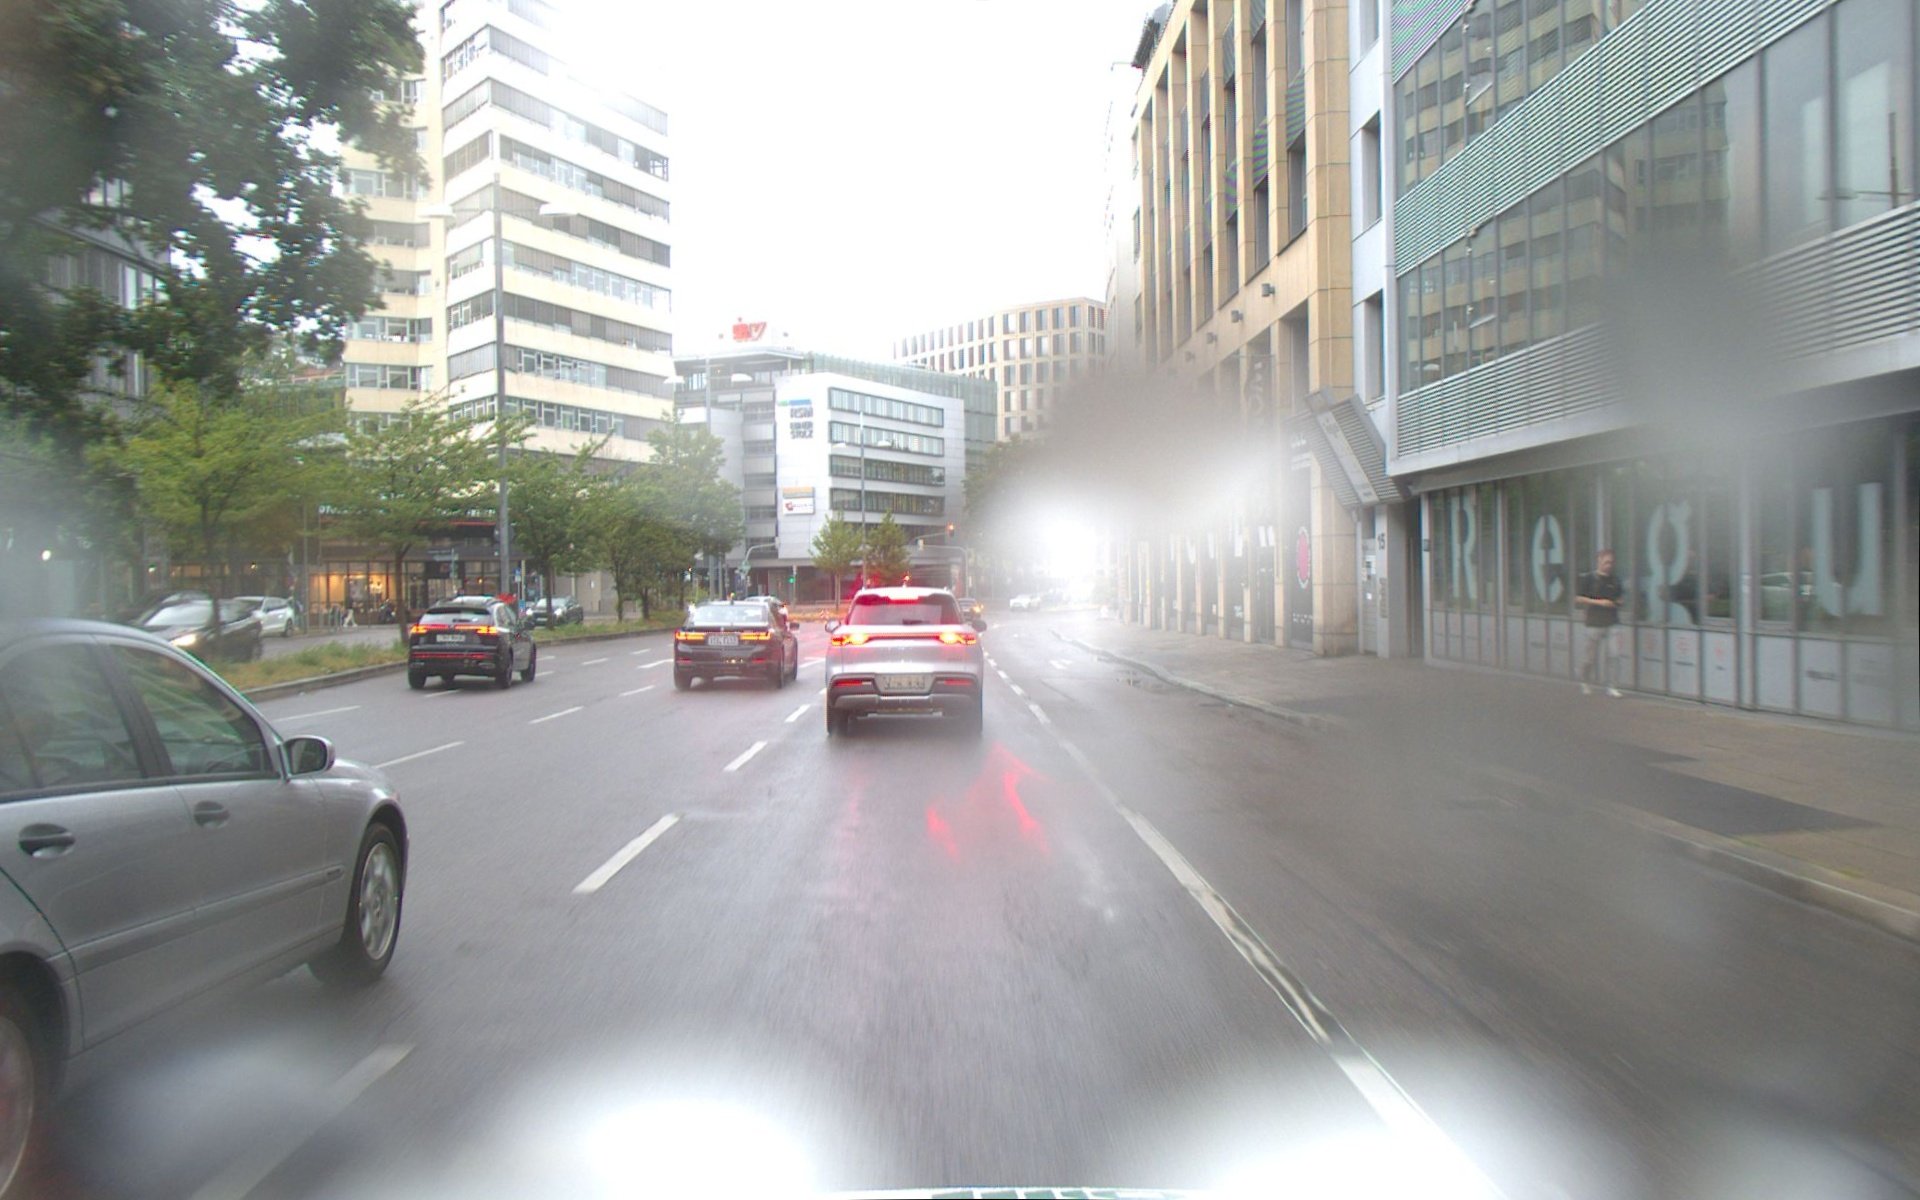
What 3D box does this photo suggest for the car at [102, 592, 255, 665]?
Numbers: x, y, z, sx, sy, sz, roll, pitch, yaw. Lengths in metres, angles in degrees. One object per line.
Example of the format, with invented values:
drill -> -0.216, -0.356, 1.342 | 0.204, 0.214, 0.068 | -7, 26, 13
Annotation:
car -> -15.421, 0.549, 32.818 | 1.592, 1.334, 3.613 | -1, 0, -6

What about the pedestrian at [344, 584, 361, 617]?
pedestrian -> -32.488, 0.046, 88.441 | 0.746, 1.743, 0.585 | 0, 0, -39

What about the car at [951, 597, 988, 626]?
car -> 0.564, 0.660, 95.794 | 1.773, 1.606, 4.003 | 0, 0, 5

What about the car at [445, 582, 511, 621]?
car -> -19.619, 0.090, 67.514 | 1.591, 1.518, 4.304 | -1, 0, -3

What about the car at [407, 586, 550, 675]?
car -> -8.671, 0.529, 30.080 | 1.739, 1.482, 3.995 | -1, 0, -5

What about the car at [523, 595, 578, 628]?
car -> -19.553, 0.541, 79.121 | 1.590, 1.478, 4.162 | -1, 0, 0

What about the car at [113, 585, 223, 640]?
car -> -25.025, 0.369, 52.403 | 1.591, 1.639, 4.230 | 0, 0, -3

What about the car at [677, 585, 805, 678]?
car -> -3.874, 0.500, 29.957 | 1.835, 1.505, 4.876 | -1, 1, -2

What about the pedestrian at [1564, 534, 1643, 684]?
pedestrian -> 7.901, 0.110, 20.344 | 0.622, 1.803, 0.789 | -1, -1, -1

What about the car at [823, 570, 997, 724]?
car -> -0.575, 0.500, 19.823 | 1.862, 1.650, 3.999 | 0, 0, -1

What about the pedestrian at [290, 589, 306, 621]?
pedestrian -> -31.808, 0.241, 79.474 | 0.597, 1.530, 0.431 | 0, 0, -39

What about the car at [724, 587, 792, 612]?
car -> -11.426, -0.030, 93.368 | 3.926, 1.365, 1.650 | 0, 0, 41

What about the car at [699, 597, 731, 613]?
car -> -17.351, 0.331, 117.230 | 1.547, 1.109, 4.001 | -1, 0, 1

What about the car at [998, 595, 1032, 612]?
car -> 5.296, 0.300, 158.806 | 1.551, 1.565, 3.993 | 0, 0, 29

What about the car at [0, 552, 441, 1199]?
car -> -2.969, 0.645, 4.741 | 1.638, 1.505, 4.359 | 0, 0, -1

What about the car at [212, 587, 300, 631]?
car -> -24.998, 0.297, 58.827 | 1.591, 1.486, 3.961 | 0, 0, -3
